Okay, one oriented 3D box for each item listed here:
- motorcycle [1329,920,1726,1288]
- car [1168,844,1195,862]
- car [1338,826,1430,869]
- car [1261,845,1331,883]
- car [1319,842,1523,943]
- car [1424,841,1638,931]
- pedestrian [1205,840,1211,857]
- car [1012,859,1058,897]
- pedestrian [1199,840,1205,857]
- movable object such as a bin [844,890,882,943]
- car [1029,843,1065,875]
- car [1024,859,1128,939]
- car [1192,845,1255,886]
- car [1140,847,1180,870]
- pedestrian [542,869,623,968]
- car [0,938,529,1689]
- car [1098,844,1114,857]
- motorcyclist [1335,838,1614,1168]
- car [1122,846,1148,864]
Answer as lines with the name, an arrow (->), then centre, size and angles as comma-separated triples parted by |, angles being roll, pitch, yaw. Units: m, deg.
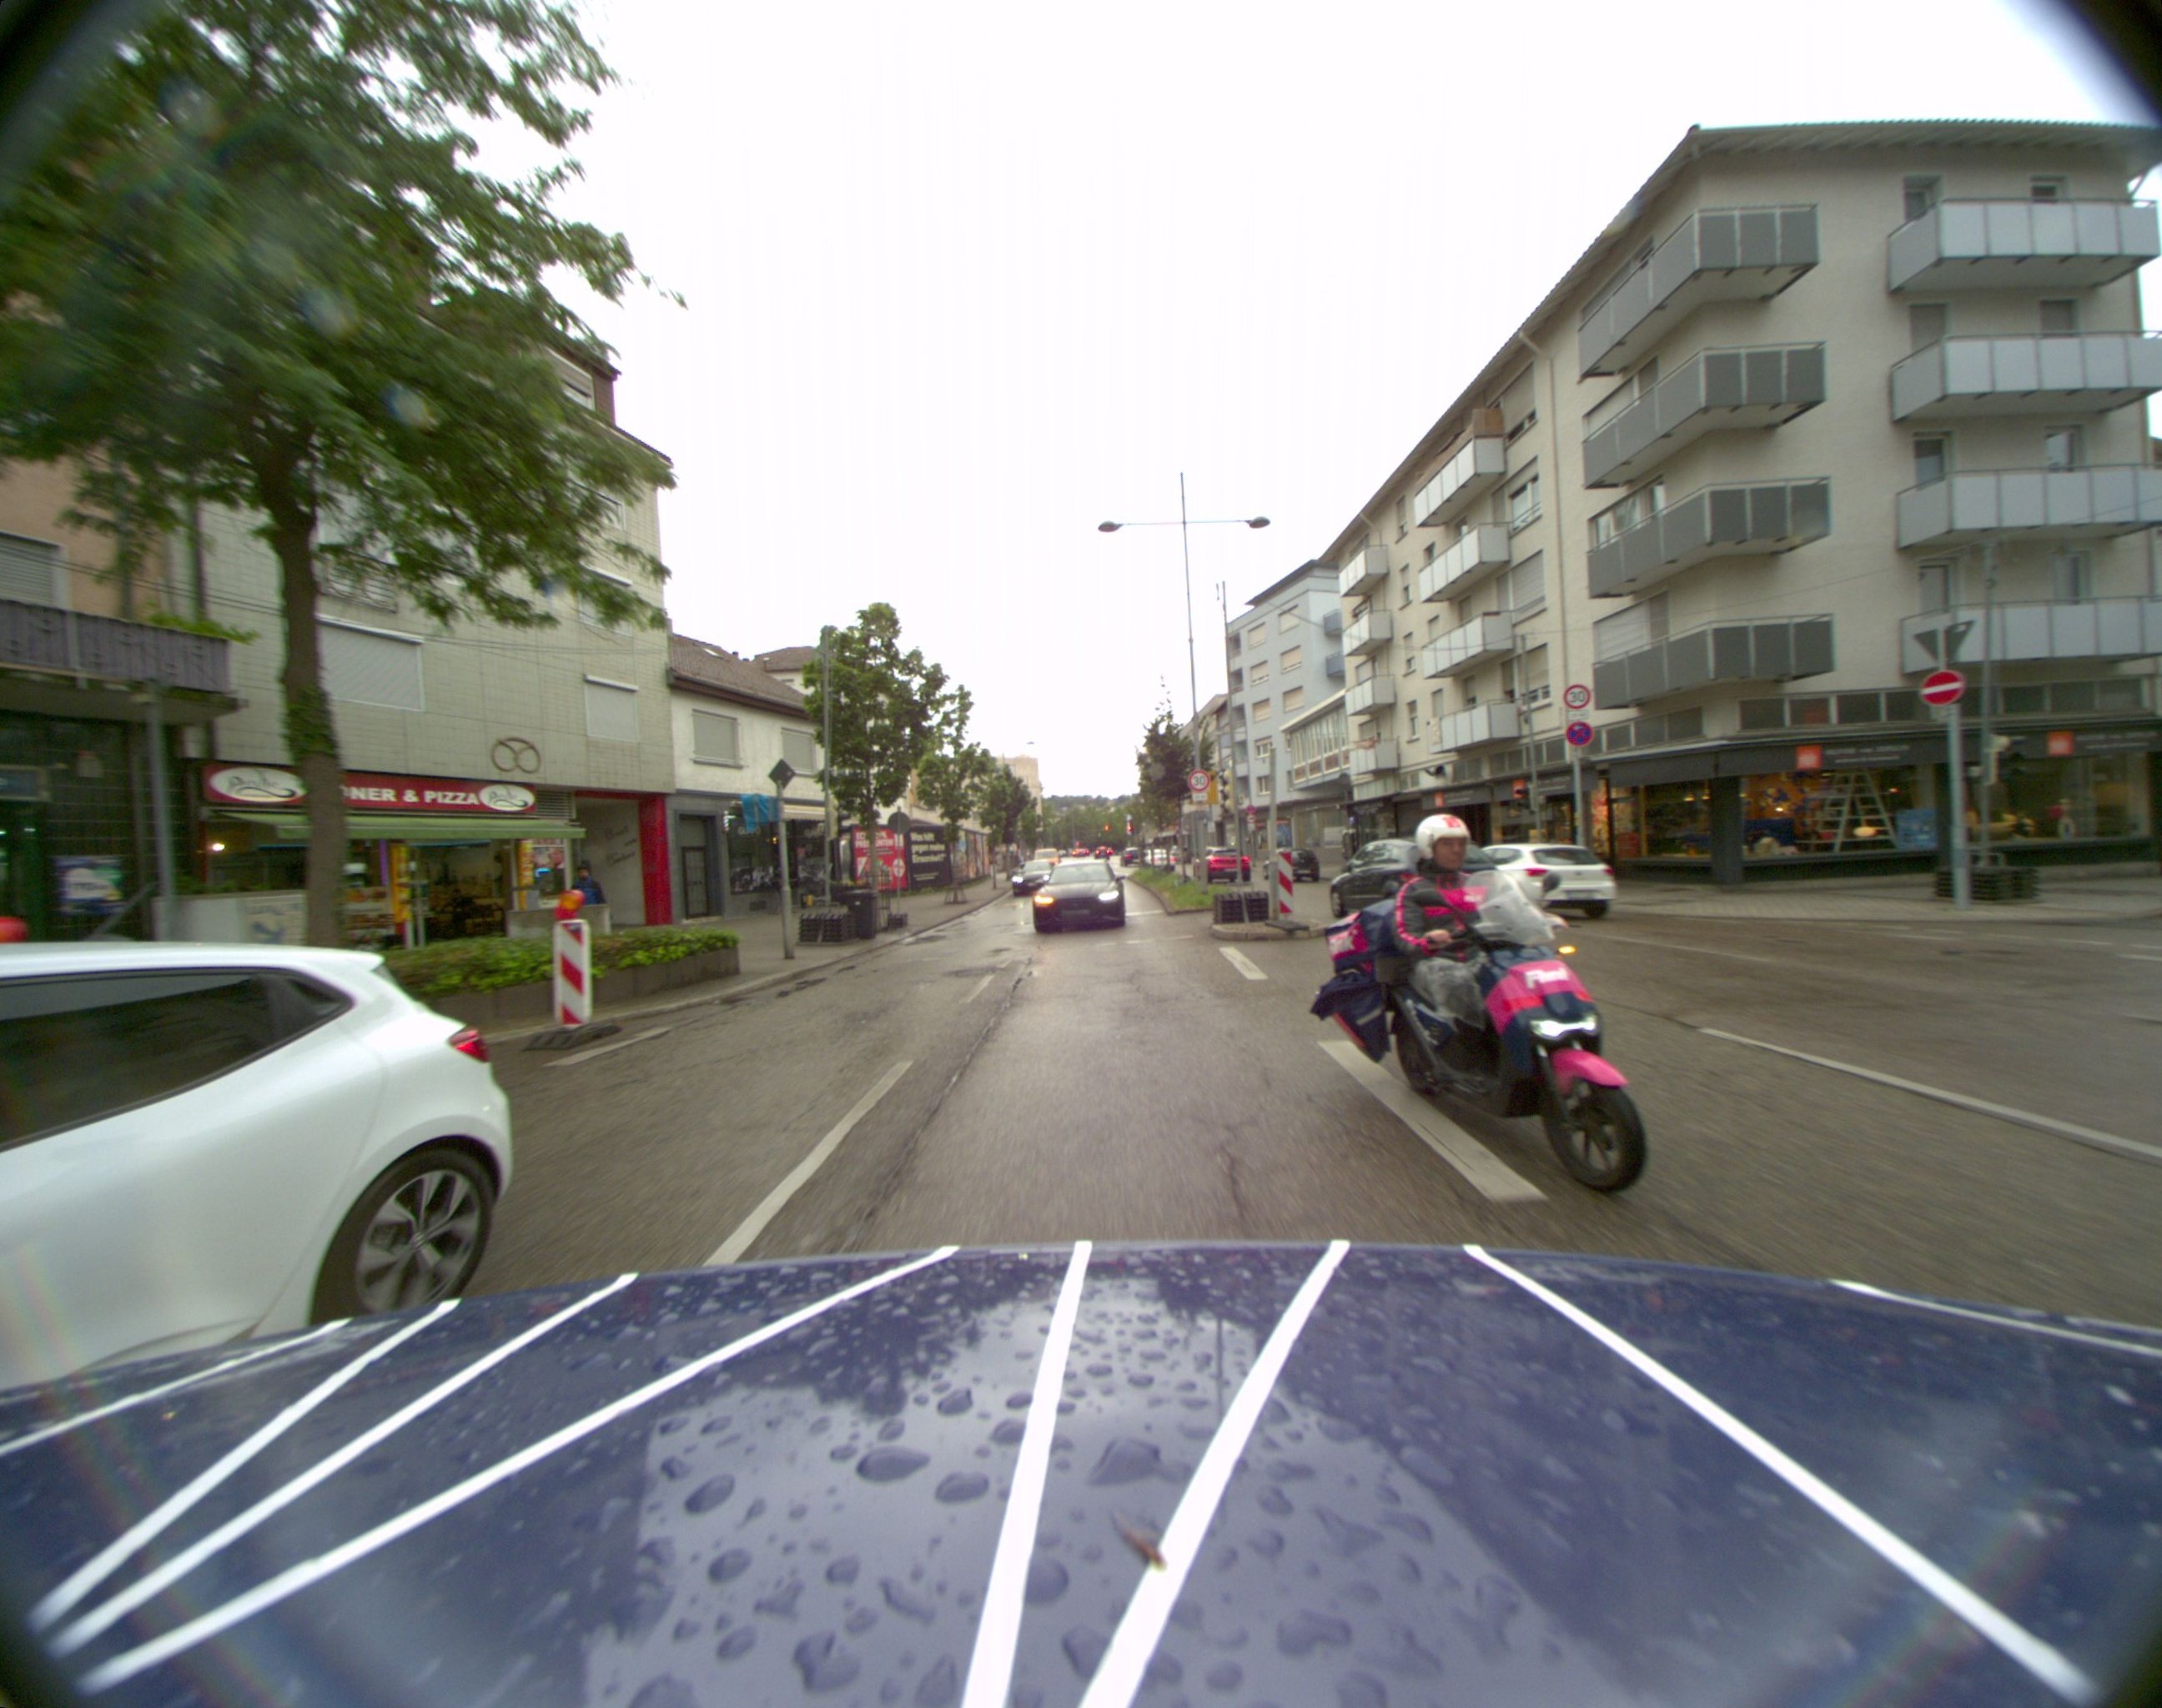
motorcycle -> 2.036, 1.029, 3.913 | 0.589, 1.184, 2.101 | -2, 0, -6
car -> 9.132, -0.092, 69.335 | 1.777, 1.580, 4.025 | -1, 0, -1
car -> 15.783, -0.332, 39.713 | 3.997, 2.043, 1.894 | -3, 1, 1
car -> 9.342, 0.403, 33.303 | 1.851, 1.488, 3.999 | -2, 1, 0
car -> 6.077, 0.600, 14.204 | 1.834, 1.534, 4.283 | -2, 1, 0
car -> 8.975, 0.551, 15.646 | 1.777, 1.515, 4.283 | -2, 1, -1
pedestrian -> 12.334, -0.517, 73.701 | 0.513, 1.679, 0.531 | -1, 3, 0
car -> -2.012, 1.000, 33.633 | 1.812, 1.332, 4.276 | -5, 1, -3
pedestrian -> 11.748, -0.521, 73.699 | 0.527, 1.679, 0.531 | -1, 3, 0
movable object such as a bin -> -4.752, 1.357, 16.576 | 0.579, 1.104, 0.666 | -1, 0, 6
car -> -2.419, 0.306, 55.829 | 2.198, 2.074, 5.932 | -3, 2, 1
car -> 0.059, 0.941, 18.213 | 2.039, 1.379, 5.294 | -4, 1, 4
car -> 5.969, 0.426, 32.319 | 1.851, 1.585, 4.090 | -2, 1, 0
car -> 5.115, 0.263, 49.855 | 1.850, 1.409, 4.613 | 0, 0, -4
pedestrian -> -9.679, 1.211, 14.767 | 0.968, 1.782, 0.908 | 1, 3, 31
car -> -3.134, 1.078, 1.075 | 1.680, 1.395, 4.000 | -1, 1, 1
car -> 3.173, -0.410, 96.479 | 1.777, 1.634, 3.839 | -1, 0, -1
motorcyclist -> 1.993, 0.693, 3.983 | 0.917, 1.484, 0.864 | -3, 0, -6
car -> 4.457, 0.060, 63.528 | 1.822, 1.433, 4.157 | -1, 0, -1
